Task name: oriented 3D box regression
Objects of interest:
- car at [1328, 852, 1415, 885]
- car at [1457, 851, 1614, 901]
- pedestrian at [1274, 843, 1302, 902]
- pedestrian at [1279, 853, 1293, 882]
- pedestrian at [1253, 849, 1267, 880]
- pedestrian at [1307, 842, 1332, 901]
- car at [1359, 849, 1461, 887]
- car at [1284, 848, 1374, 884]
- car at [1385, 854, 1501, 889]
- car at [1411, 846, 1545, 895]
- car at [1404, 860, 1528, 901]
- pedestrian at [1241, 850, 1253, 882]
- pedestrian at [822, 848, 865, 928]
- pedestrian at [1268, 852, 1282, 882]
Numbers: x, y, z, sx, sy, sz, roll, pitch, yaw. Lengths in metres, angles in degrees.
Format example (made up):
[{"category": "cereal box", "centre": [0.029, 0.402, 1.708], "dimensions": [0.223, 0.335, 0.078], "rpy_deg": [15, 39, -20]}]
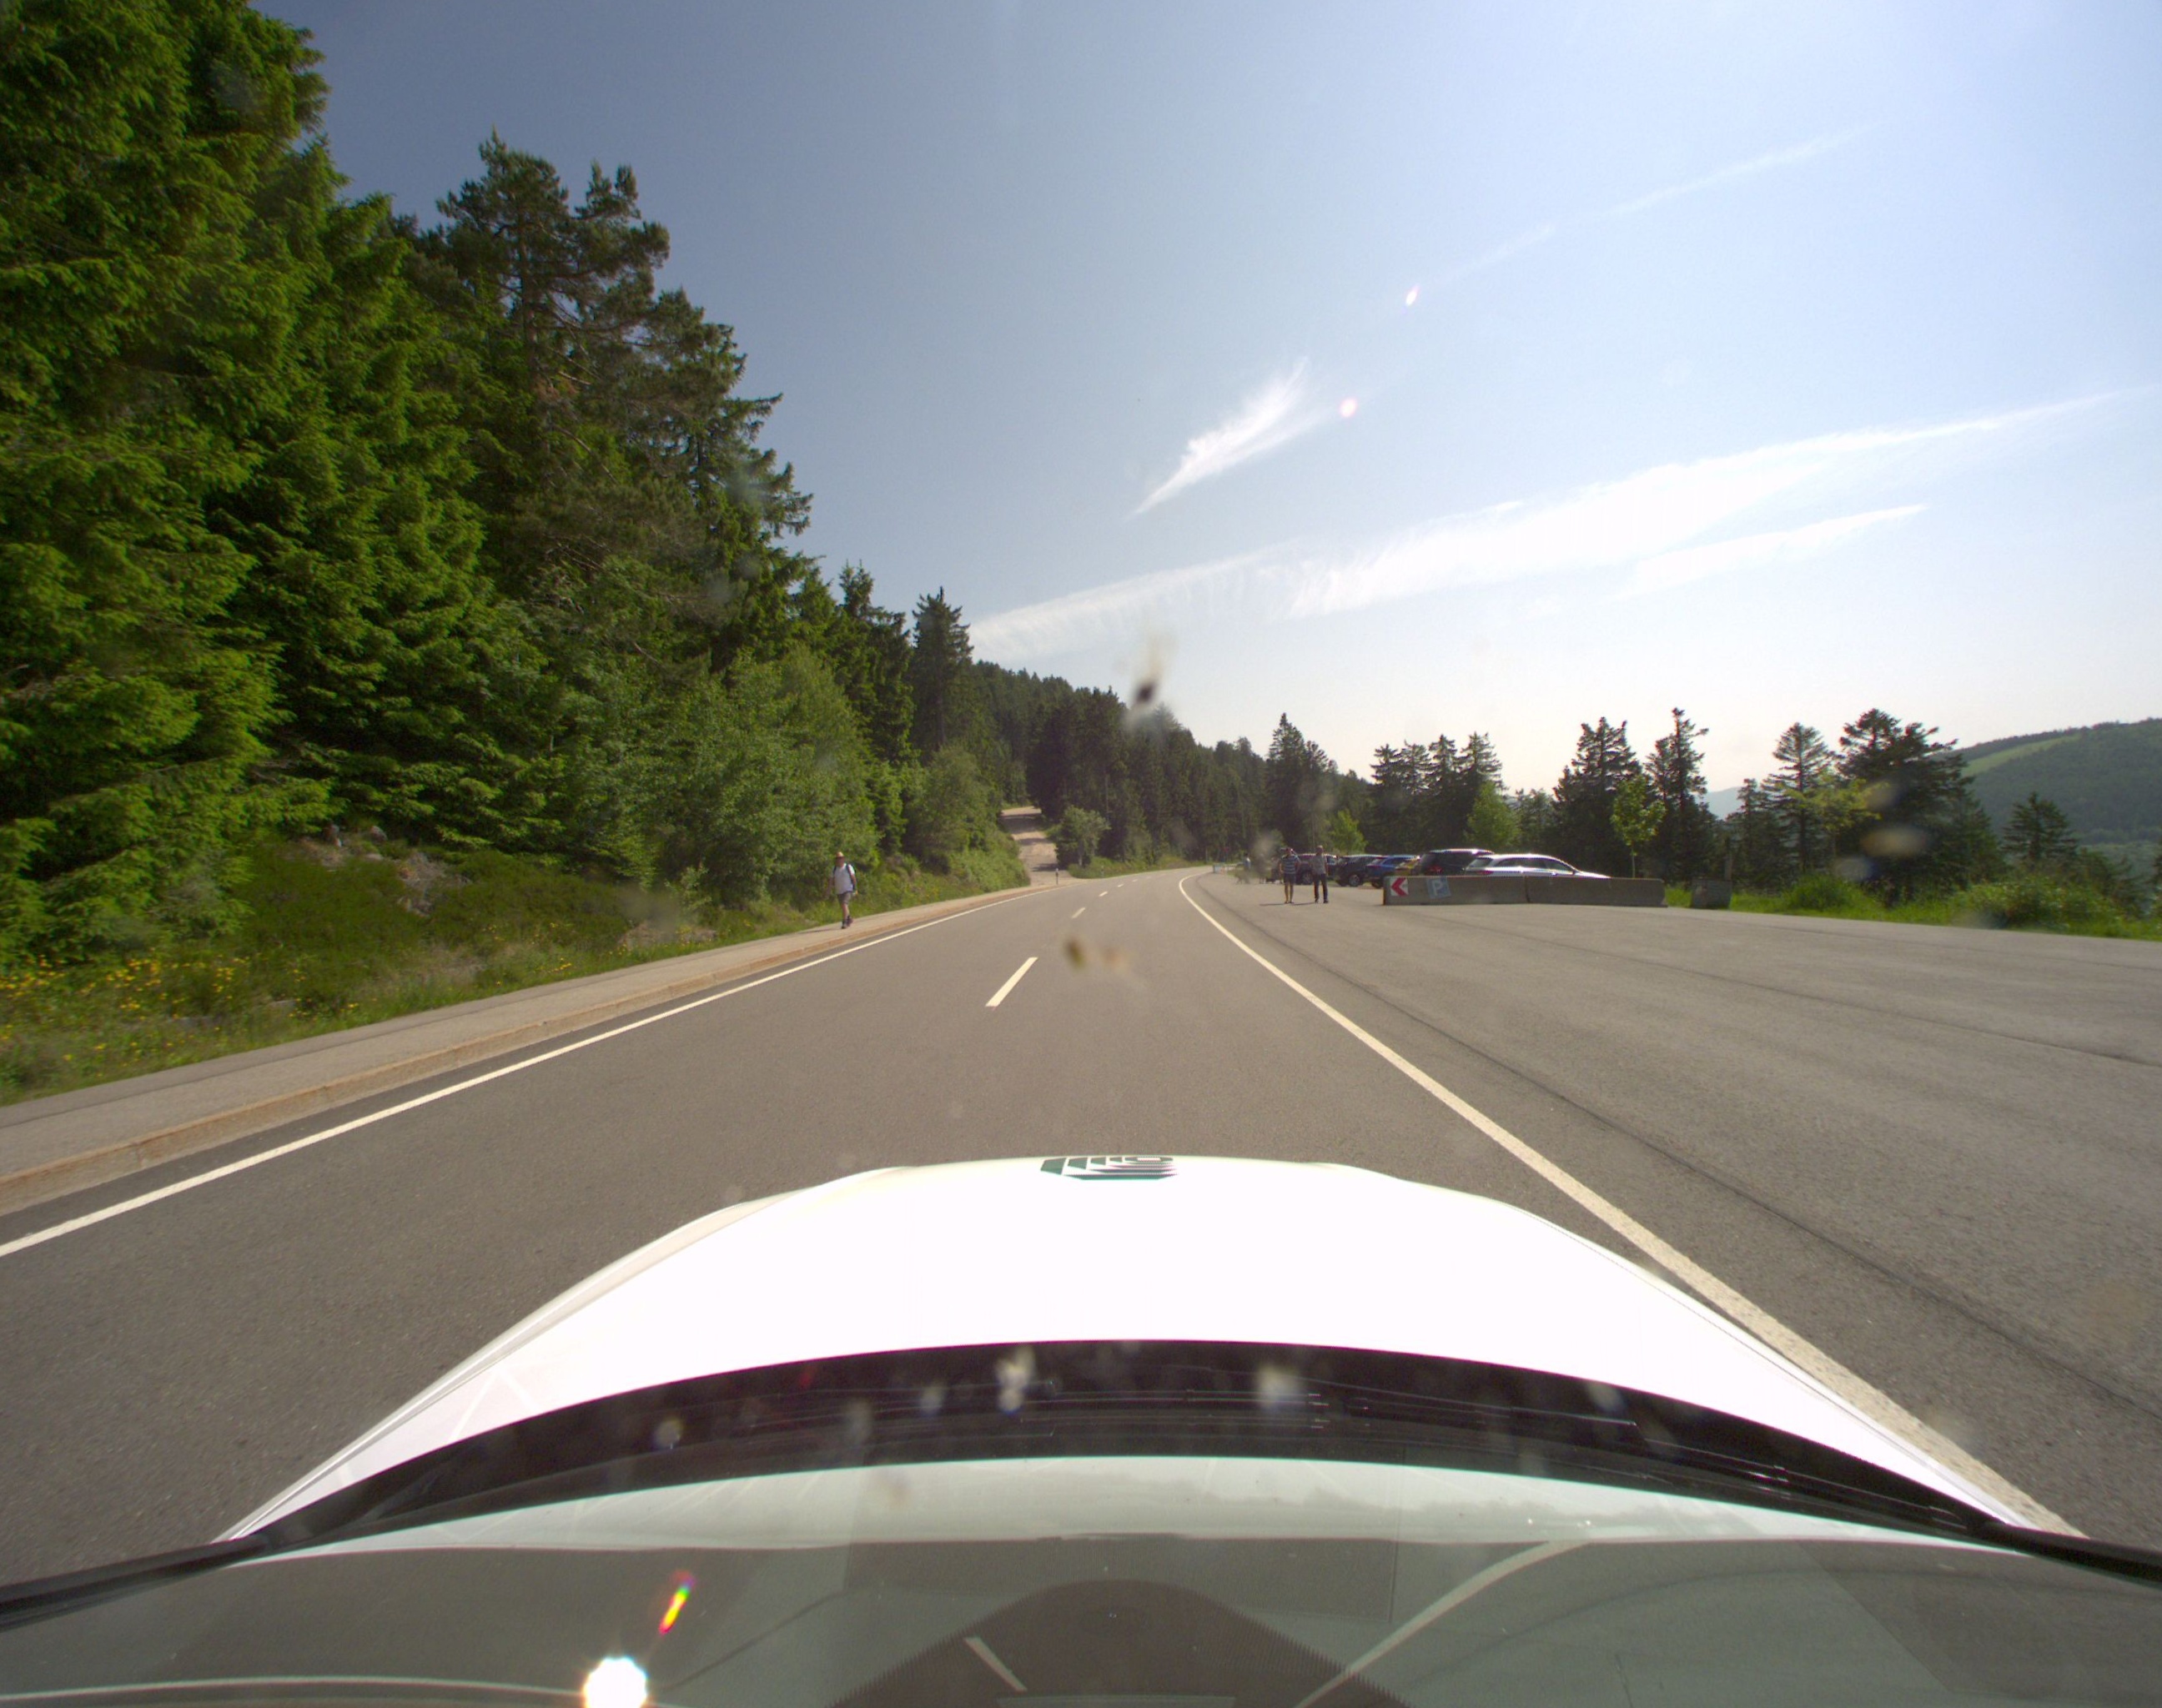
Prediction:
[{"category": "car", "centre": [14.538, 0.721, 40.840], "dimensions": [3.743, 1.567, 1.598], "rpy_deg": [-1, -1, -3]}, {"category": "car", "centre": [14.254, 0.663, 25.690], "dimensions": [3.973, 1.476, 1.773], "rpy_deg": [1, 0, 0]}, {"category": "pedestrian", "centre": [6.392, 0.562, 25.152], "dimensions": [0.748, 1.760, 0.779], "rpy_deg": [-2, 0, 16]}, {"category": "pedestrian", "centre": [11.697, 0.773, 46.460], "dimensions": [0.611, 1.587, 0.739], "rpy_deg": [-2, 1, 22]}, {"category": "pedestrian", "centre": [10.048, 0.595, 45.670], "dimensions": [0.711, 1.692, 0.620], "rpy_deg": [-1, -1, 10]}, {"category": "pedestrian", "centre": [7.314, 0.526, 24.993], "dimensions": [0.660, 1.741, 0.898], "rpy_deg": [-2, 0, 17]}, {"category": "car", "centre": [15.085, 0.610, 37.480], "dimensions": [3.975, 1.535, 1.807], "rpy_deg": [-1, 3, -1]}, {"category": "car", "centre": [13.293, 0.624, 43.813], "dimensions": [4.249, 1.794, 1.892], "rpy_deg": [-1, 0, 0]}, {"category": "car", "centre": [15.116, 0.728, 34.180], "dimensions": [3.971, 1.353, 1.988], "rpy_deg": [-1, 0, 2]}, {"category": "car", "centre": [13.958, 0.567, 28.772], "dimensions": [3.975, 1.647, 1.600], "rpy_deg": [1, -1, -1]}, {"category": "car", "centre": [14.875, 0.994, 31.579], "dimensions": [3.981, 1.436, 1.764], "rpy_deg": [1, -1, 2]}, {"category": "pedestrian", "centre": [9.484, 0.670, 46.451], "dimensions": [0.613, 1.775, 0.726], "rpy_deg": [-1, -1, 10]}, {"category": "pedestrian", "centre": [-5.329, 0.742, 18.308], "dimensions": [0.680, 1.746, 0.825], "rpy_deg": [-1, 0, 0]}, {"category": "pedestrian", "centre": [11.341, 0.756, 47.626], "dimensions": [0.647, 1.660, 0.691], "rpy_deg": [-3, 1, 16]}]
